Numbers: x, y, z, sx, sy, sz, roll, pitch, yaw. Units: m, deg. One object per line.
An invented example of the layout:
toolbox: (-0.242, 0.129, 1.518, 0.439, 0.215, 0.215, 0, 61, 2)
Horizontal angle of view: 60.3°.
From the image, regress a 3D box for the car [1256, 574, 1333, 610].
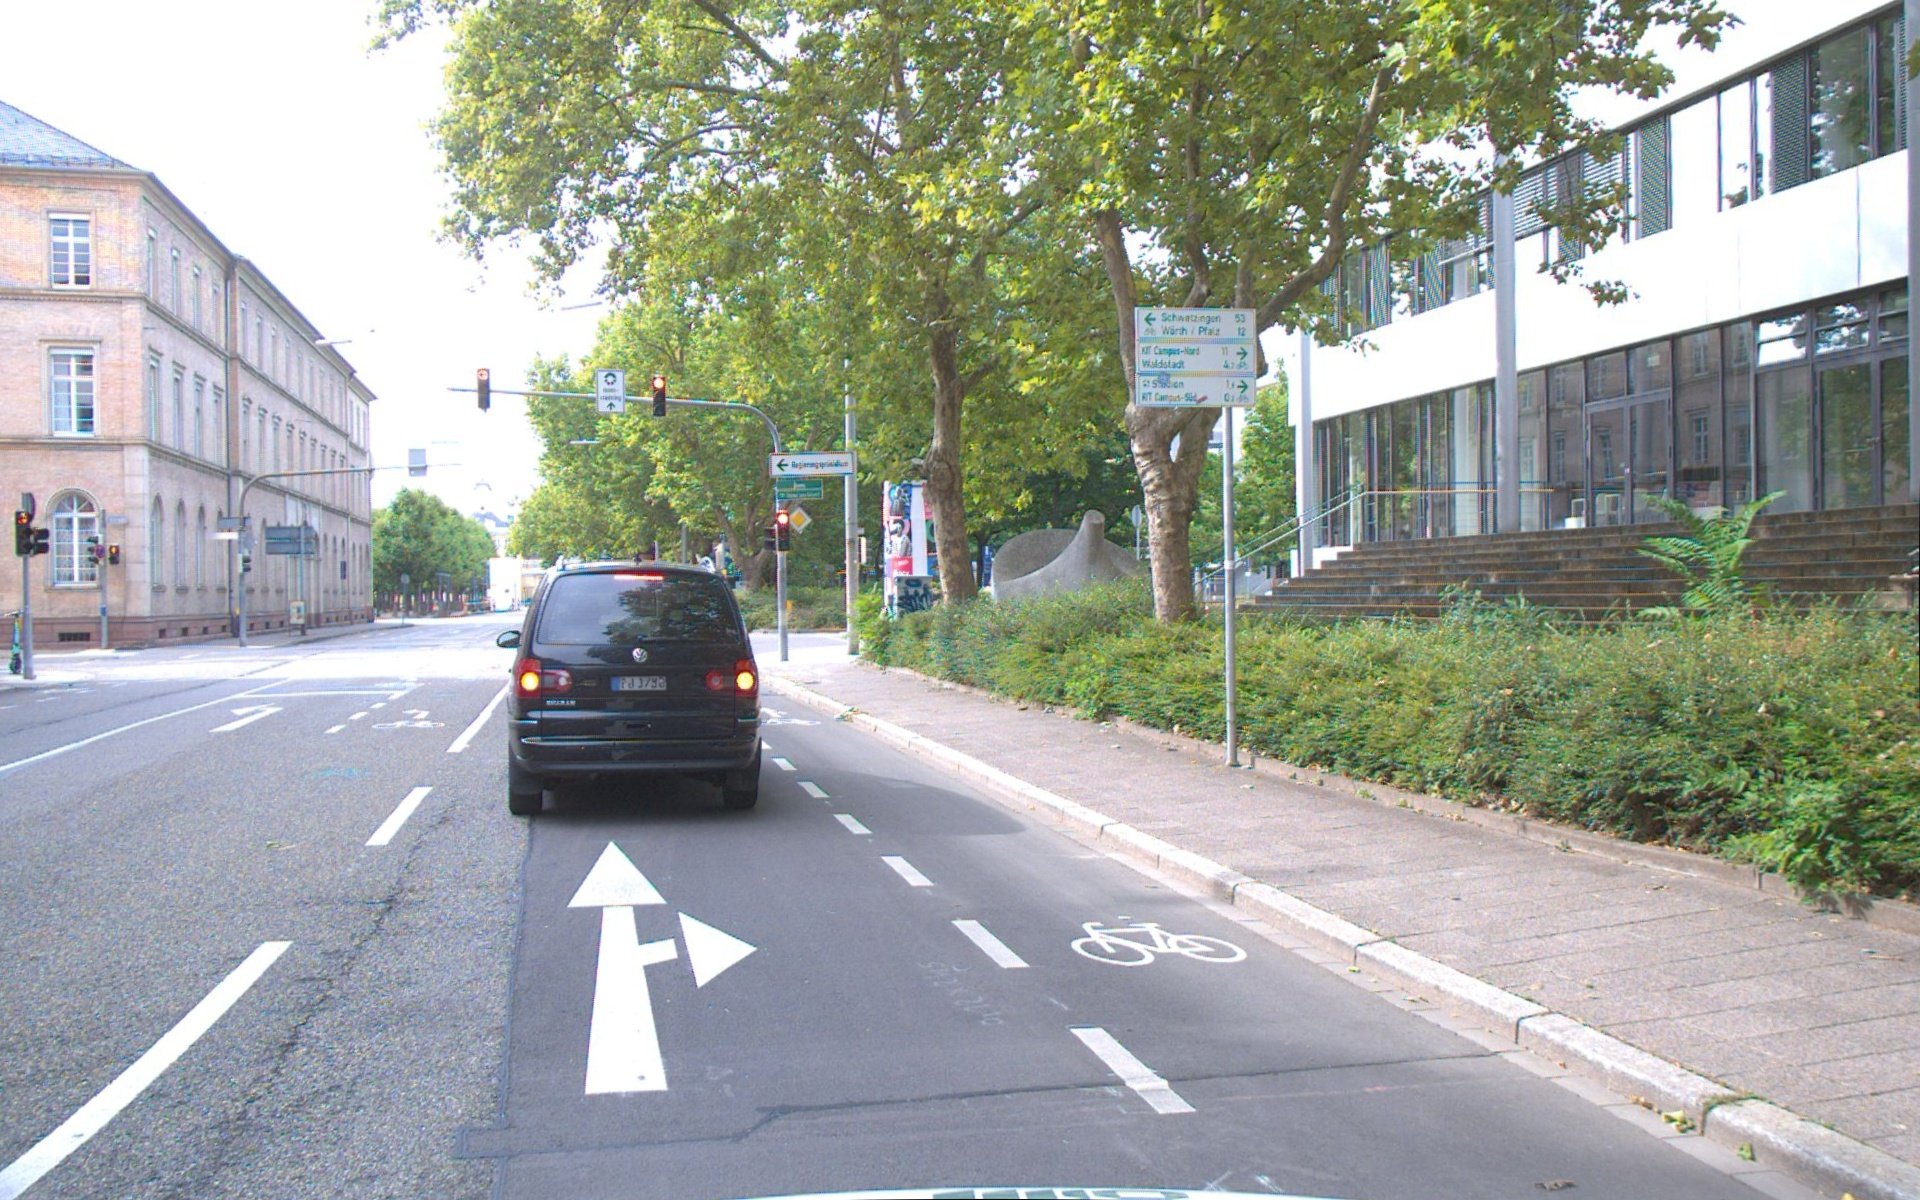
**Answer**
car: (16.036, -0.378, 79.489, 1.929, 1.680, 4.135, -1, 0, -16)

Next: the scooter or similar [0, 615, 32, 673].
scooter or similar: (-19.382, 0.910, 33.893, 0.372, 1.164, 1.136, -1, -1, -17)

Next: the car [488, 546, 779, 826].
car: (-2.493, 0.528, 12.984, 1.840, 1.775, 4.563, -1, 0, -10)
